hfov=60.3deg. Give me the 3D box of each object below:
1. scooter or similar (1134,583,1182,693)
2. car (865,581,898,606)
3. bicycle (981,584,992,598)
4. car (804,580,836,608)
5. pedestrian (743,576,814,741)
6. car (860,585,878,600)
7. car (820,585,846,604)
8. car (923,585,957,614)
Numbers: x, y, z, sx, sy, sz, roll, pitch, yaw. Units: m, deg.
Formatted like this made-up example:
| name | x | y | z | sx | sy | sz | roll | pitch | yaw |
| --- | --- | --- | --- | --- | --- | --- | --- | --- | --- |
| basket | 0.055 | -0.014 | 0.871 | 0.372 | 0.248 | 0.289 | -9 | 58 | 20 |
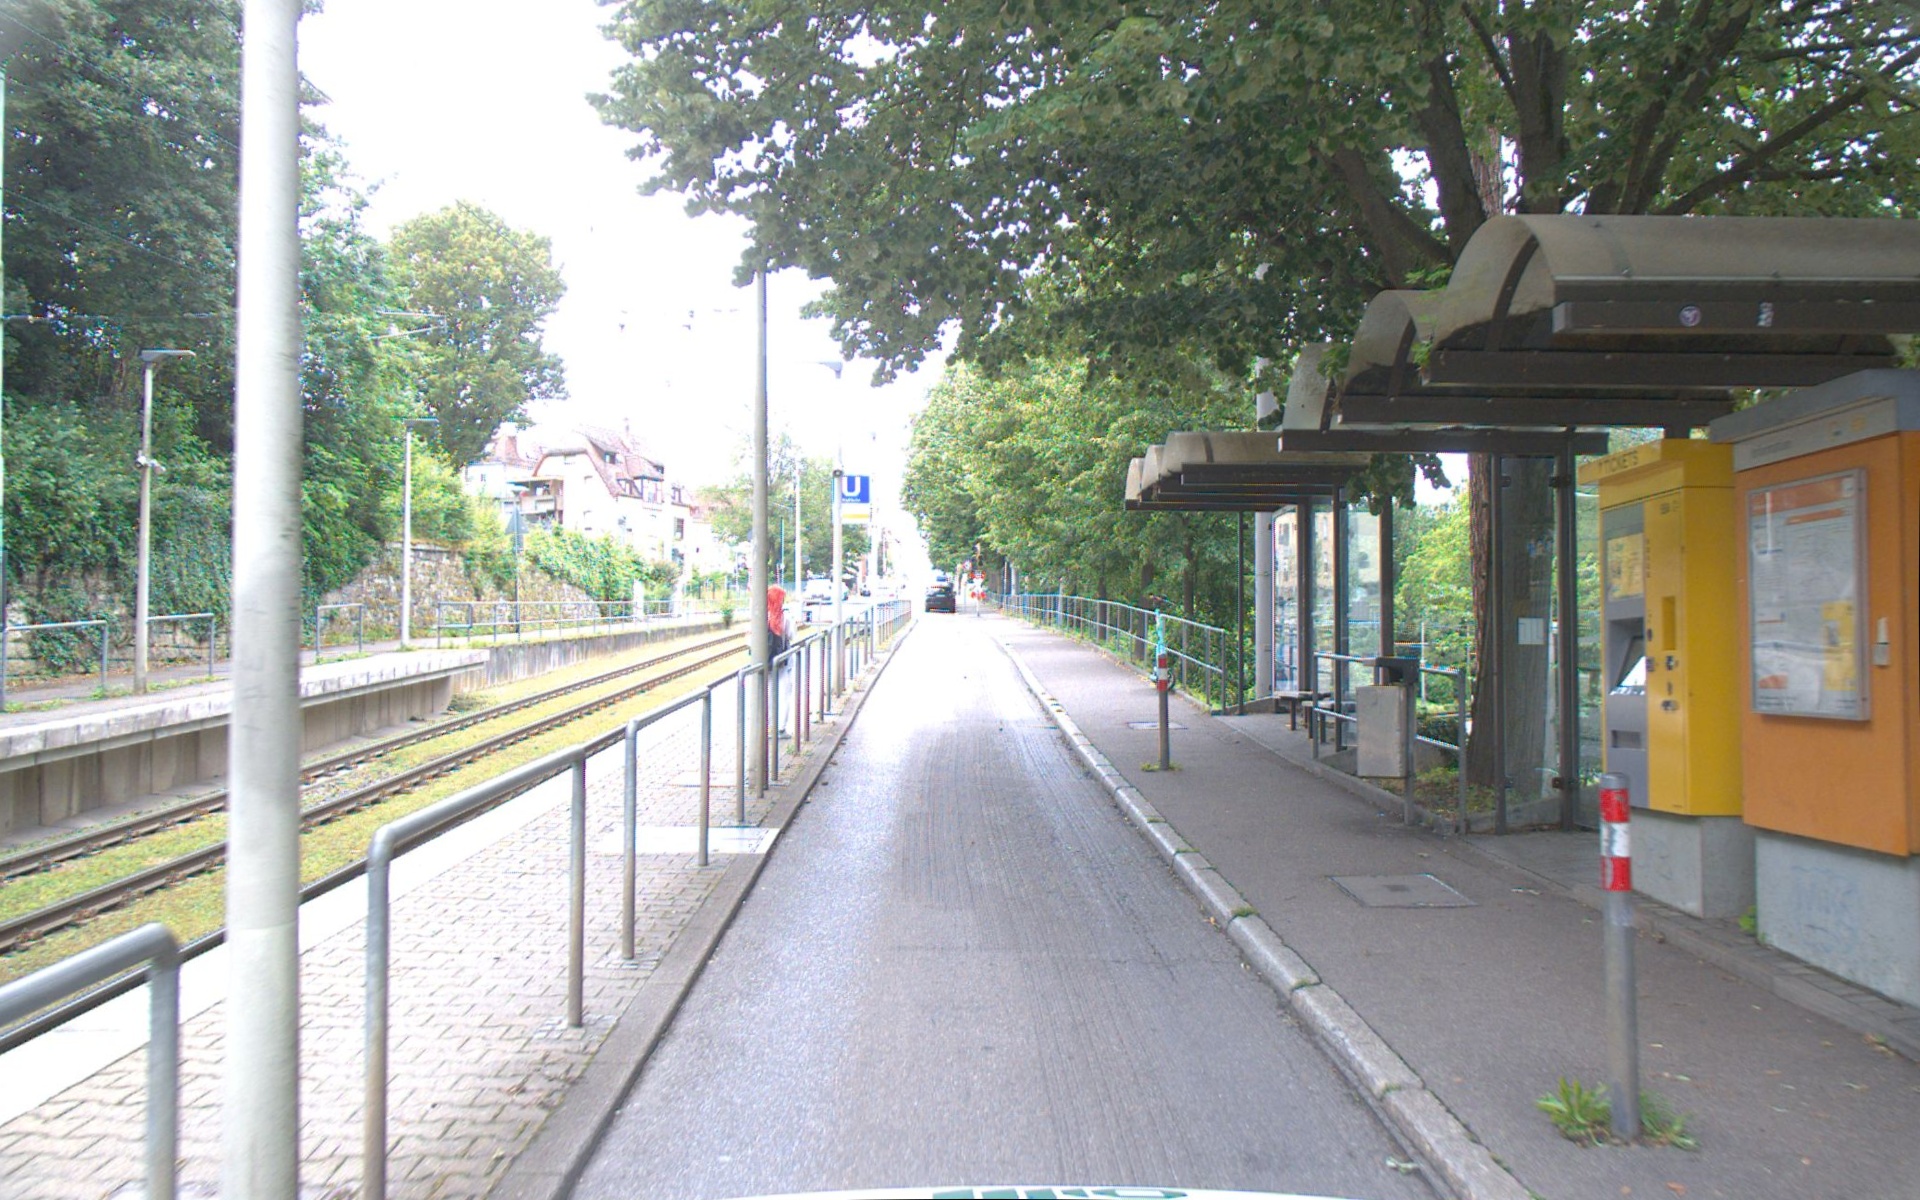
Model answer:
| name | x | y | z | sx | sy | sz | roll | pitch | yaw |
| --- | --- | --- | --- | --- | --- | --- | --- | --- | --- |
| scooter or similar | 2.622 | 0.494 | 21.991 | 0.421 | 1.409 | 1.455 | 1 | -1 | -1 |
| car | -5.014 | -0.403 | 105.649 | 1.953 | 1.525 | 4.311 | 1 | 0 | -1 |
| bicycle | 1.894 | -0.626 | 118.299 | 0.419 | 0.993 | 1.790 | 1 | 0 | -10 |
| car | -10.505 | -0.426 | 124.388 | 1.995 | 1.914 | 4.883 | -2 | 0 | -2 |
| pedestrian | -1.717 | 0.539 | 15.743 | 0.612 | 1.528 | 0.739 | 1 | 1 | -4 |
| car | -11.292 | -0.940 | 204.972 | 1.952 | 1.840 | 4.000 | 1 | 0 | 1 |
| car | -10.632 | -0.461 | 138.721 | 1.846 | 1.552 | 4.663 | -1 | 0 | -1 |
| car | -1.181 | -0.066 | 98.870 | 1.865 | 1.643 | 4.600 | 1 | 0 | 1 |
